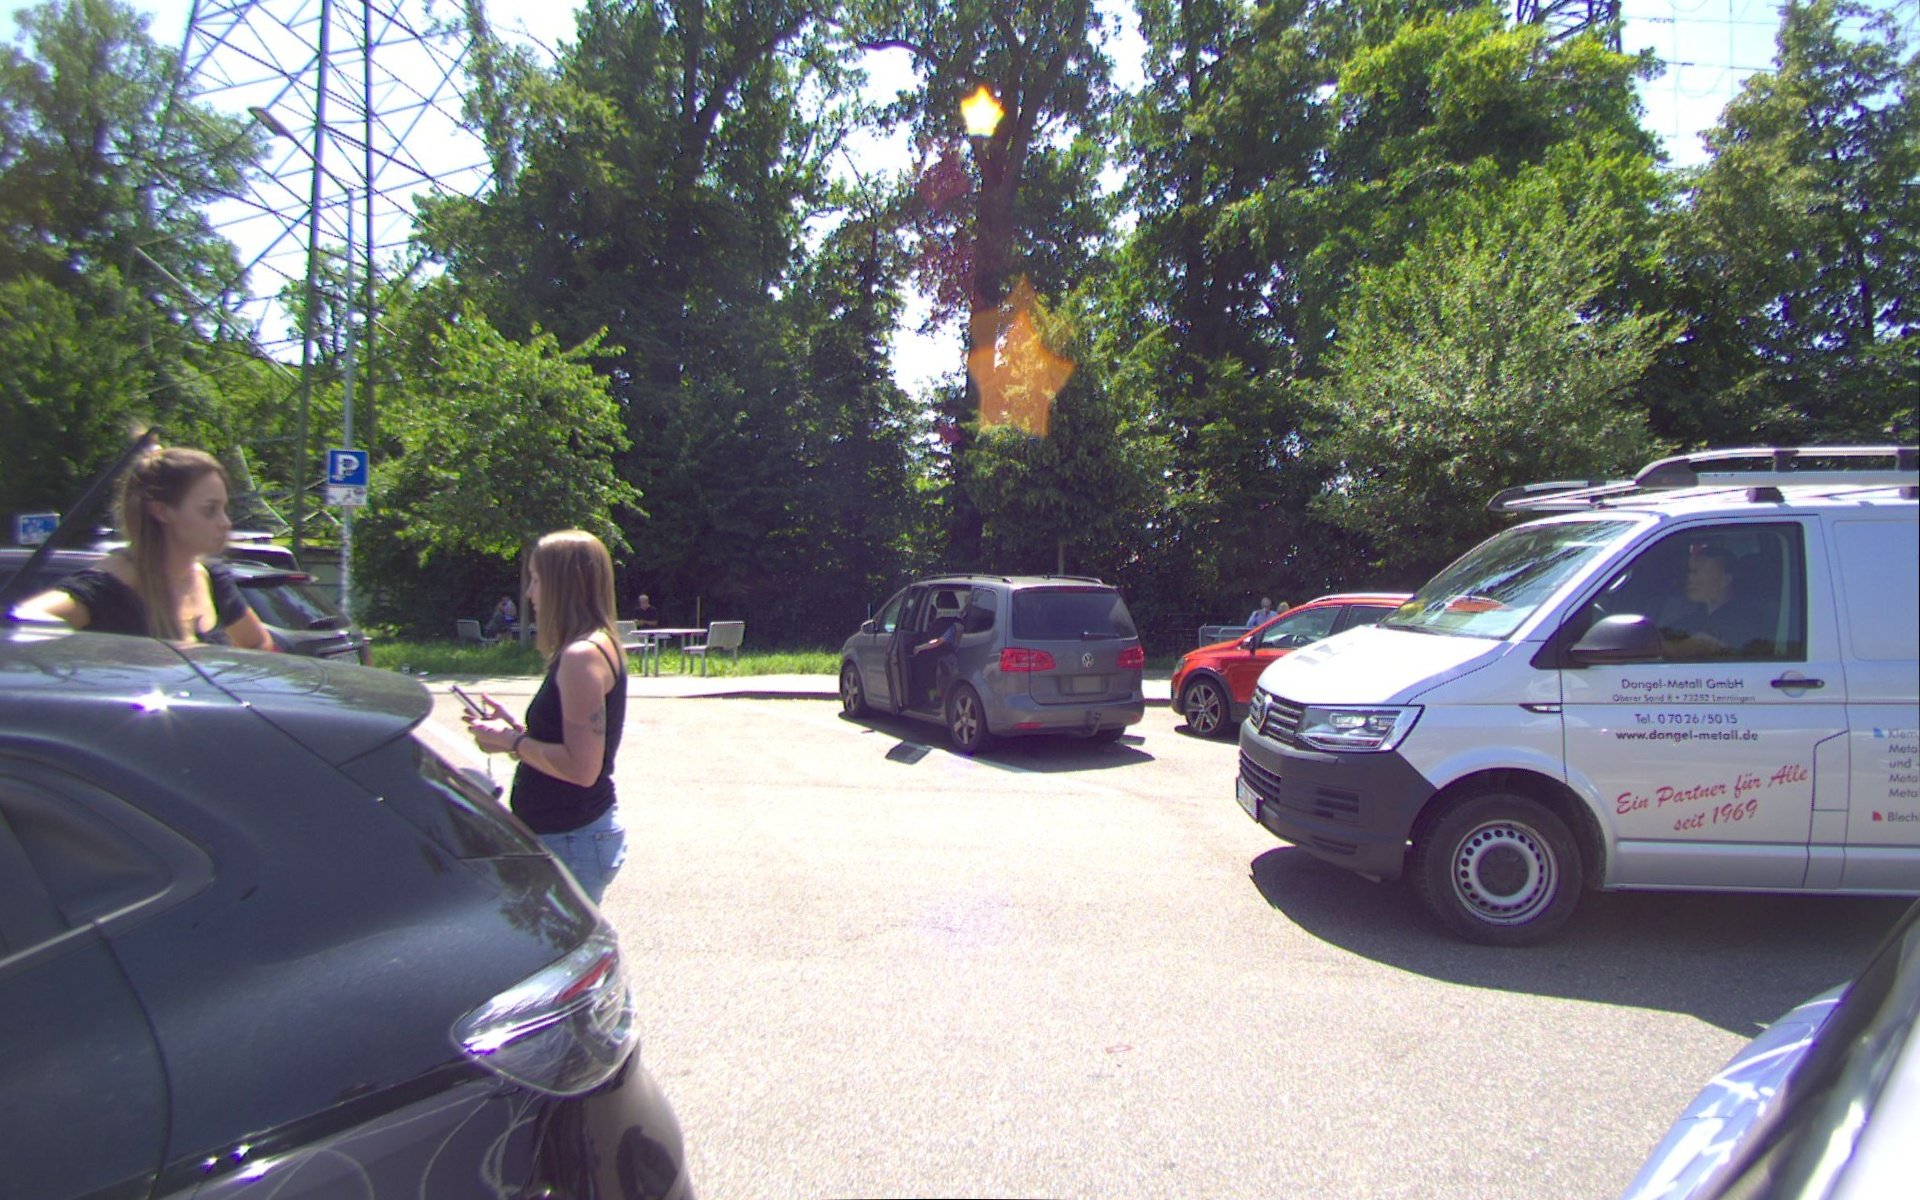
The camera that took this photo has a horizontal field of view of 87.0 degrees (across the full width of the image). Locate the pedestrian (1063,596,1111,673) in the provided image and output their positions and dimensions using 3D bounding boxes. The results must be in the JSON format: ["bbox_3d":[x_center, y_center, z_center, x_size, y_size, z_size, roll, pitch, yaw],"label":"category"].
[{"bbox_3d":[2.107,0.576,16.835,0.660,1.235,0.682,1,-2,-5],"label":"pedestrian"}]

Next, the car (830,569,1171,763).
[{"bbox_3d":[0.204,0.510,10.555,1.717,1.611,3.961,0,1,-30],"label":"car"}]

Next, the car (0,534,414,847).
[{"bbox_3d":[-5.720,0.461,6.095,3.964,1.644,1.854,1,0,-17],"label":"car"}]

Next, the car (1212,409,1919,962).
[{"bbox_3d":[4.075,0.340,4.961,5.219,2.177,1.997,1,-1,5],"label":"car"}]

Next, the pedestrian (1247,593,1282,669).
[{"bbox_3d":[5.741,0.577,19.092,0.495,1.393,0.491,1,-1,0],"label":"pedestrian"}]

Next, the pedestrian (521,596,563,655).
[{"bbox_3d":[-9.746,0.580,23.571,0.722,1.343,0.669,1,-1,-39],"label":"pedestrian"}]

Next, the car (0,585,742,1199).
[{"bbox_3d":[-2.156,0.719,0.581,1.615,1.503,3.706,0,-1,44],"label":"car"}]

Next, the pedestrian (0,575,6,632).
[{"bbox_3d":[-23.762,0.083,24.538,0.599,1.391,0.705,1,-1,15],"label":"pedestrian"}]

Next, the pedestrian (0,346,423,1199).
[{"bbox_3d":[-1.920,0.445,2.459,0.758,1.896,0.918,1,-1,-5],"label":"pedestrian"}]

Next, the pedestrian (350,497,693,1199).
[{"bbox_3d":[-1.068,0.579,2.610,0.635,1.606,0.655,1,-1,-8],"label":"pedestrian"}]

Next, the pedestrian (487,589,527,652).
[{"bbox_3d":[-10.977,0.487,24.508,0.722,1.478,0.669,1,-1,-39],"label":"pedestrian"}]

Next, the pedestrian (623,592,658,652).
[{"bbox_3d":[-6.716,0.462,21.297,0.550,1.229,0.599,1,-1,-1],"label":"pedestrian"}]

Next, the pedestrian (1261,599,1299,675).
[{"bbox_3d":[5.657,0.640,17.891,0.495,1.316,0.491,1,-1,0],"label":"pedestrian"}]

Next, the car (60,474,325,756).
[{"bbox_3d":[-8.095,0.088,10.620,1.885,2.353,4.089,0,1,-40],"label":"car"}]

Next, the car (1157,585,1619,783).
[{"bbox_3d":[3.817,0.606,9.637,1.604,1.476,3.810,0,1,-34],"label":"car"}]

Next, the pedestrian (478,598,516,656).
[{"bbox_3d":[-10.465,0.595,22.873,0.630,1.287,0.579,1,-1,-39],"label":"pedestrian"}]
